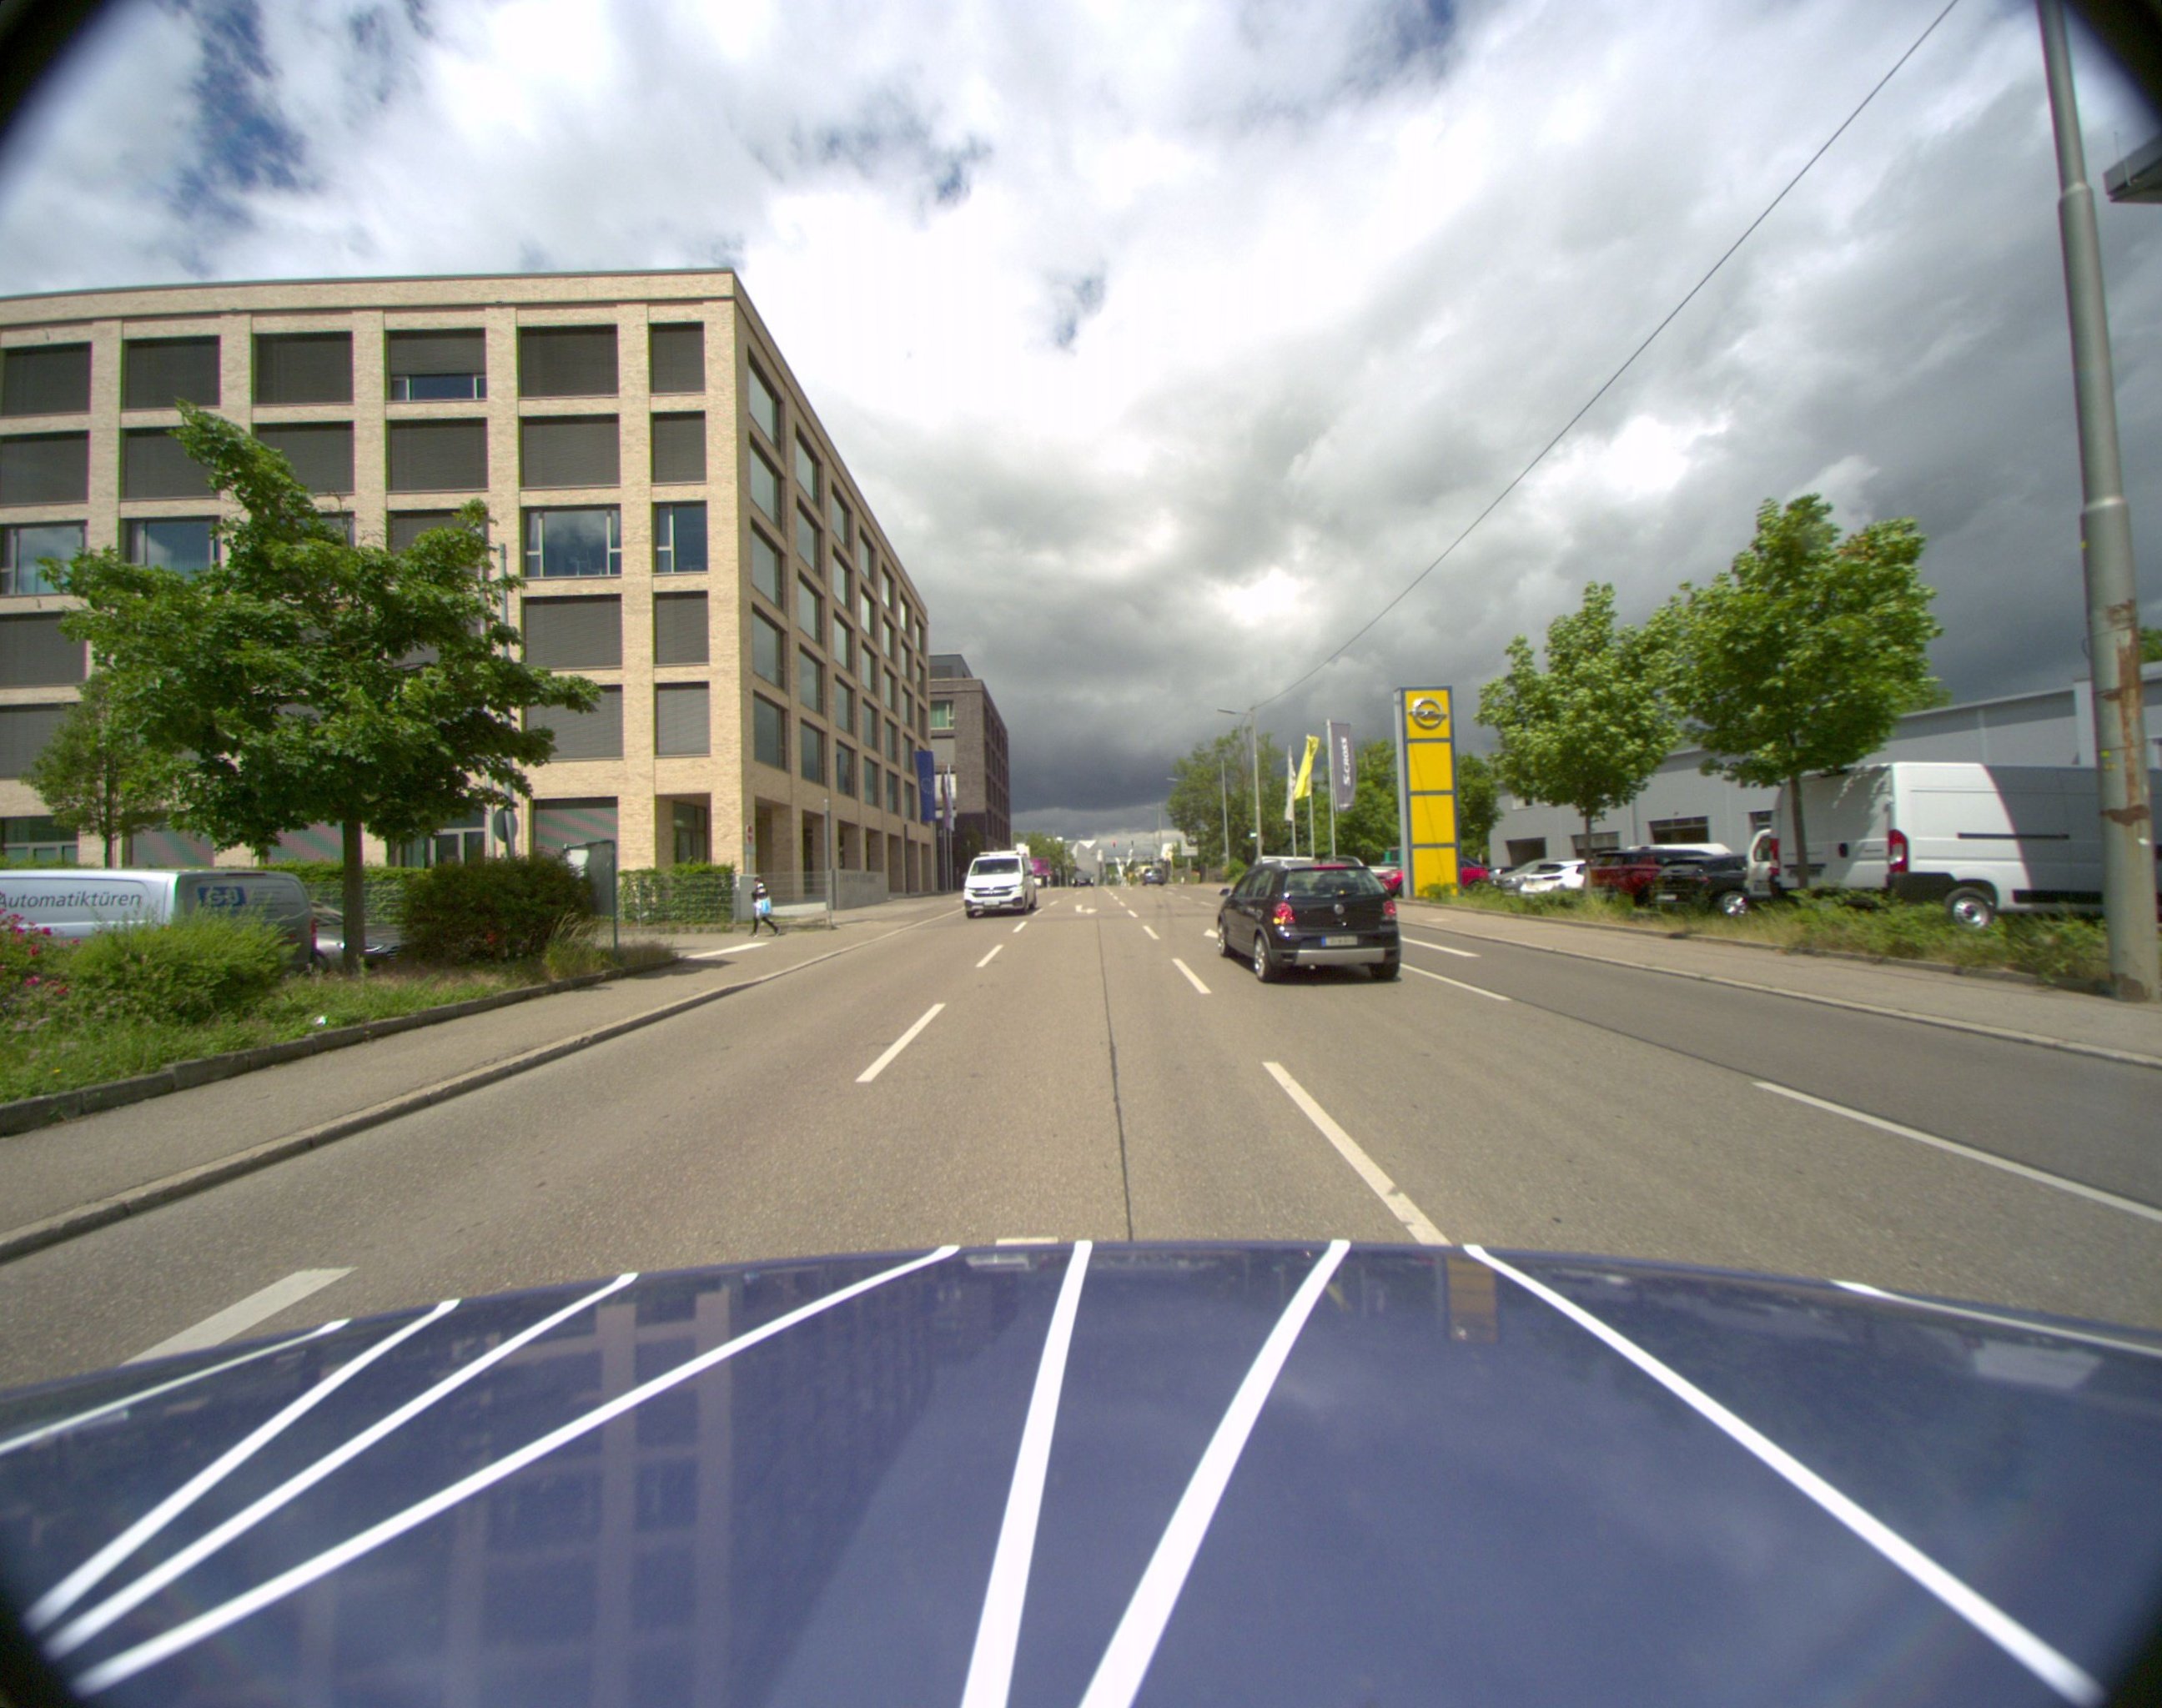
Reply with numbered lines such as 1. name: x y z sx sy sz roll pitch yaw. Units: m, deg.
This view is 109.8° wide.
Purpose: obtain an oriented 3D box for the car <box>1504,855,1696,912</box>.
1. car: 14.392 0.798 21.251 3.997 1.400 2.000 -2 -1 -1

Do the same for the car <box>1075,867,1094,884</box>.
1. car: 0.336 1.951 70.500 1.726 1.394 4.208 -1 0 0

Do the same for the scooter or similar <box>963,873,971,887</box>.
1. scooter or similar: -9.246 2.095 61.537 0.428 1.145 1.404 -1 -1 1

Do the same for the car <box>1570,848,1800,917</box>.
1. car: 14.842 0.716 18.895 3.996 1.482 2.001 -2 -2 3

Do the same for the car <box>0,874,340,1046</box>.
1. car: -12.672 1.212 9.383 4.722 1.837 2.087 0 0 -6

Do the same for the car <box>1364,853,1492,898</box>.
1. car: 13.004 0.820 28.639 3.996 1.579 1.754 1 -2 2

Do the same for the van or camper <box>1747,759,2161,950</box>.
1. van or camper: 13.852 0.026 11.694 5.039 2.515 2.319 -2 -2 0

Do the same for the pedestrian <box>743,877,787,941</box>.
1. pedestrian: -7.743 1.329 18.631 0.689 1.526 0.856 -1 -1 1

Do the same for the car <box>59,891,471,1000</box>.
1. car: -12.847 1.404 12.215 4.443 1.473 2.000 0 0 0

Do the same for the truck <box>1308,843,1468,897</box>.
1. truck: 13.087 0.656 32.695 5.877 2.135 2.476 -1 0 -2

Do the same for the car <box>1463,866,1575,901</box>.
1. car: 18.740 1.260 32.620 3.832 1.320 1.646 -2 0 1

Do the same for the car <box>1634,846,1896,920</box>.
1. car: 14.864 0.598 16.692 3.997 1.401 1.928 -2 0 0

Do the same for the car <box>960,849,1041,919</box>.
1. car: -2.536 0.918 24.961 1.935 2.078 4.209 -1 0 4

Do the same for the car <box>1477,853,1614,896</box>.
1. car: 17.576 0.782 28.863 4.089 1.513 1.827 1 -2 0

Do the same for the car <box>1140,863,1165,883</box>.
1. car: 6.115 1.629 65.234 1.748 1.586 4.043 1 -1 0

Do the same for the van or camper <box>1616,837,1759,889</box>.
1. van or camper: 29.541 0.465 37.056 5.905 2.340 2.500 -1 -2 -18

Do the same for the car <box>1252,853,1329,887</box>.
1. car: 13.248 1.049 48.291 4.171 2.001 2.199 -2 -2 -1

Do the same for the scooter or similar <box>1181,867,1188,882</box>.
1. scooter or similar: 9.469 1.893 69.829 0.536 1.258 1.473 -3 -2 6

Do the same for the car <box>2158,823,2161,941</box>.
1. car: 12.760 0.361 7.533 4.485 1.500 1.938 -1 0 -41

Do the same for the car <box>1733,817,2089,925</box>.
1. car: 14.881 0.338 13.889 3.995 1.695 2.002 -2 -2 6

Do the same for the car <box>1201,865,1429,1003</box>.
1. car: 2.985 0.935 10.717 1.834 1.500 4.277 -1 0 -1
